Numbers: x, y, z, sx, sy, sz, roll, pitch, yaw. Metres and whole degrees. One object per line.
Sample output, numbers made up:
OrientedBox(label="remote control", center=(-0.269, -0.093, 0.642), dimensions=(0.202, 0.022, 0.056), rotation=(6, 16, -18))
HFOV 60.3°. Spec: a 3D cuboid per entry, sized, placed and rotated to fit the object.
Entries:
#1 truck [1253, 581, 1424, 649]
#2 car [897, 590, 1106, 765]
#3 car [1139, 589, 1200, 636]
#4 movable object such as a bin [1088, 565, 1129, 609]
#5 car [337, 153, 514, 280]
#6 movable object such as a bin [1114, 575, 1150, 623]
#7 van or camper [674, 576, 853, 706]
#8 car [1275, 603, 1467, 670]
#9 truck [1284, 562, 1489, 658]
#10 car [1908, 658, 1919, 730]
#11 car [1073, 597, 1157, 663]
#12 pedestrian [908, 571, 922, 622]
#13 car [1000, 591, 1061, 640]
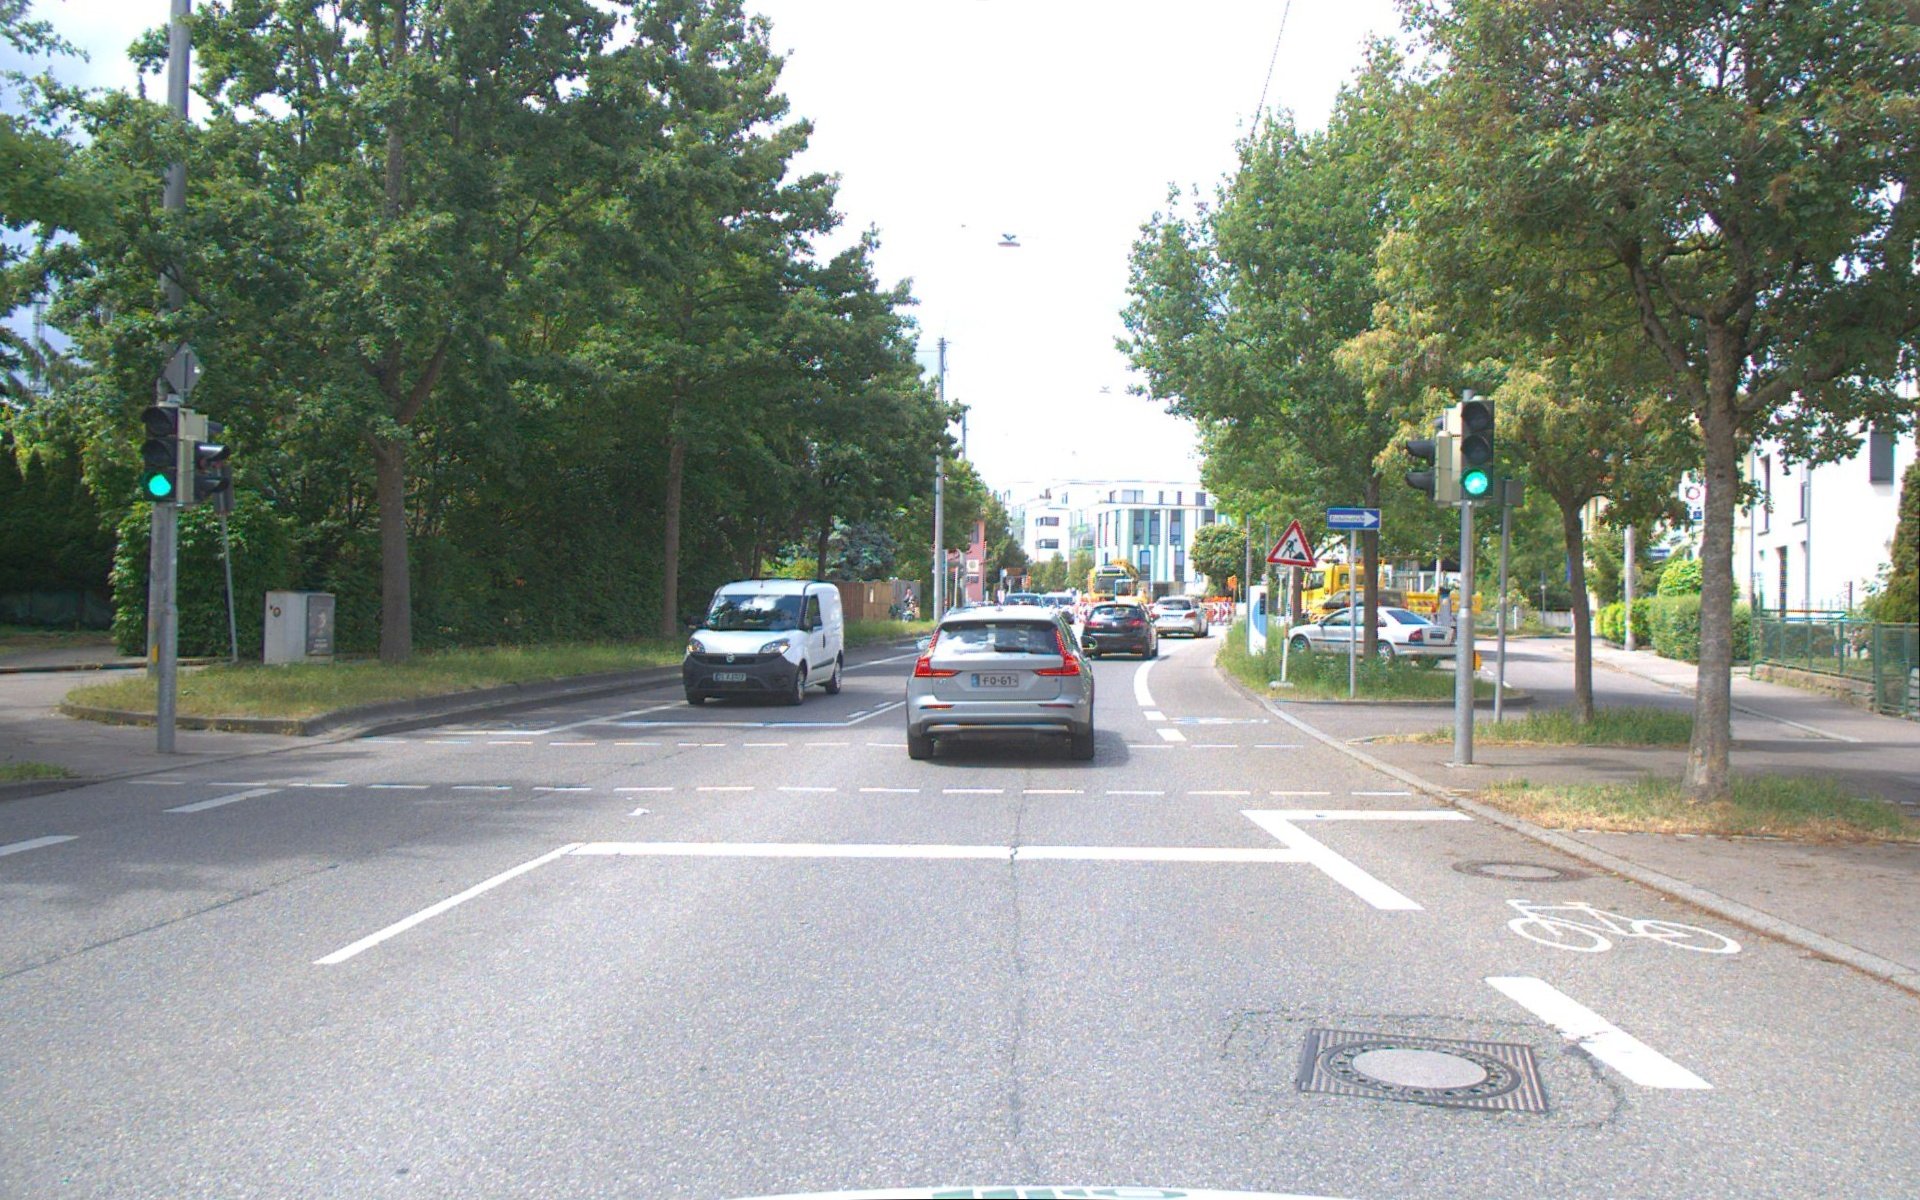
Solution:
OrientedBox(label="truck", center=(12.798, 0.483, 56.324), dimensions=(1.980, 2.049, 5.598), rotation=(4, -1, -39))
OrientedBox(label="car", center=(0.462, 0.731, 17.208), dimensions=(1.888, 1.567, 4.001), rotation=(-1, -1, 2))
OrientedBox(label="car", center=(7.661, 0.484, 60.757), dimensions=(2.058, 1.536, 4.002), rotation=(3, -1, 6))
OrientedBox(label="movable object such as a bin", center=(10.693, -0.917, 119.225), dimensions=(2.263, 3.042, 6.425), rotation=(0, 0, -1))
OrientedBox(label="car", center=(-10.319, -7.412, 32.257), dimensions=(1.790, 1.353, 4.002), rotation=(3, -2, 5))
OrientedBox(label="movable object such as a bin", center=(10.045, -0.068, 96.255), dimensions=(1.991, 2.689, 5.944), rotation=(0, 0, 7))
OrientedBox(label="van or camper", center=(-2.920, 0.571, 25.538), dimensions=(1.821, 1.807, 4.383), rotation=(1, 0, 6))
OrientedBox(label="car", center=(10.214, 0.875, 41.380), dimensions=(1.748, 1.477, 4.630), rotation=(2, 0, -36))
OrientedBox(label="truck", center=(14.914, 0.289, 58.194), dimensions=(2.742, 3.060, 6.616), rotation=(4, -1, -38))
OrientedBox(label="car", center=(15.652, 1.495, 24.865), dimensions=(1.431, 1.144, 3.874), rotation=(3, -1, 15))
OrientedBox(label="car", center=(3.894, 0.747, 42.001), dimensions=(1.628, 1.534, 3.701), rotation=(-2, -1, -2))
OrientedBox(label="pedestrian", center=(-1.806, -0.142, 66.674), dimensions=(0.393, 2.049, 0.415), rotation=(3, -1, 9))
OrientedBox(label="car", center=(2.612, 0.551, 60.258), dimensions=(1.840, 1.717, 4.250), rotation=(-1, 0, 7))
